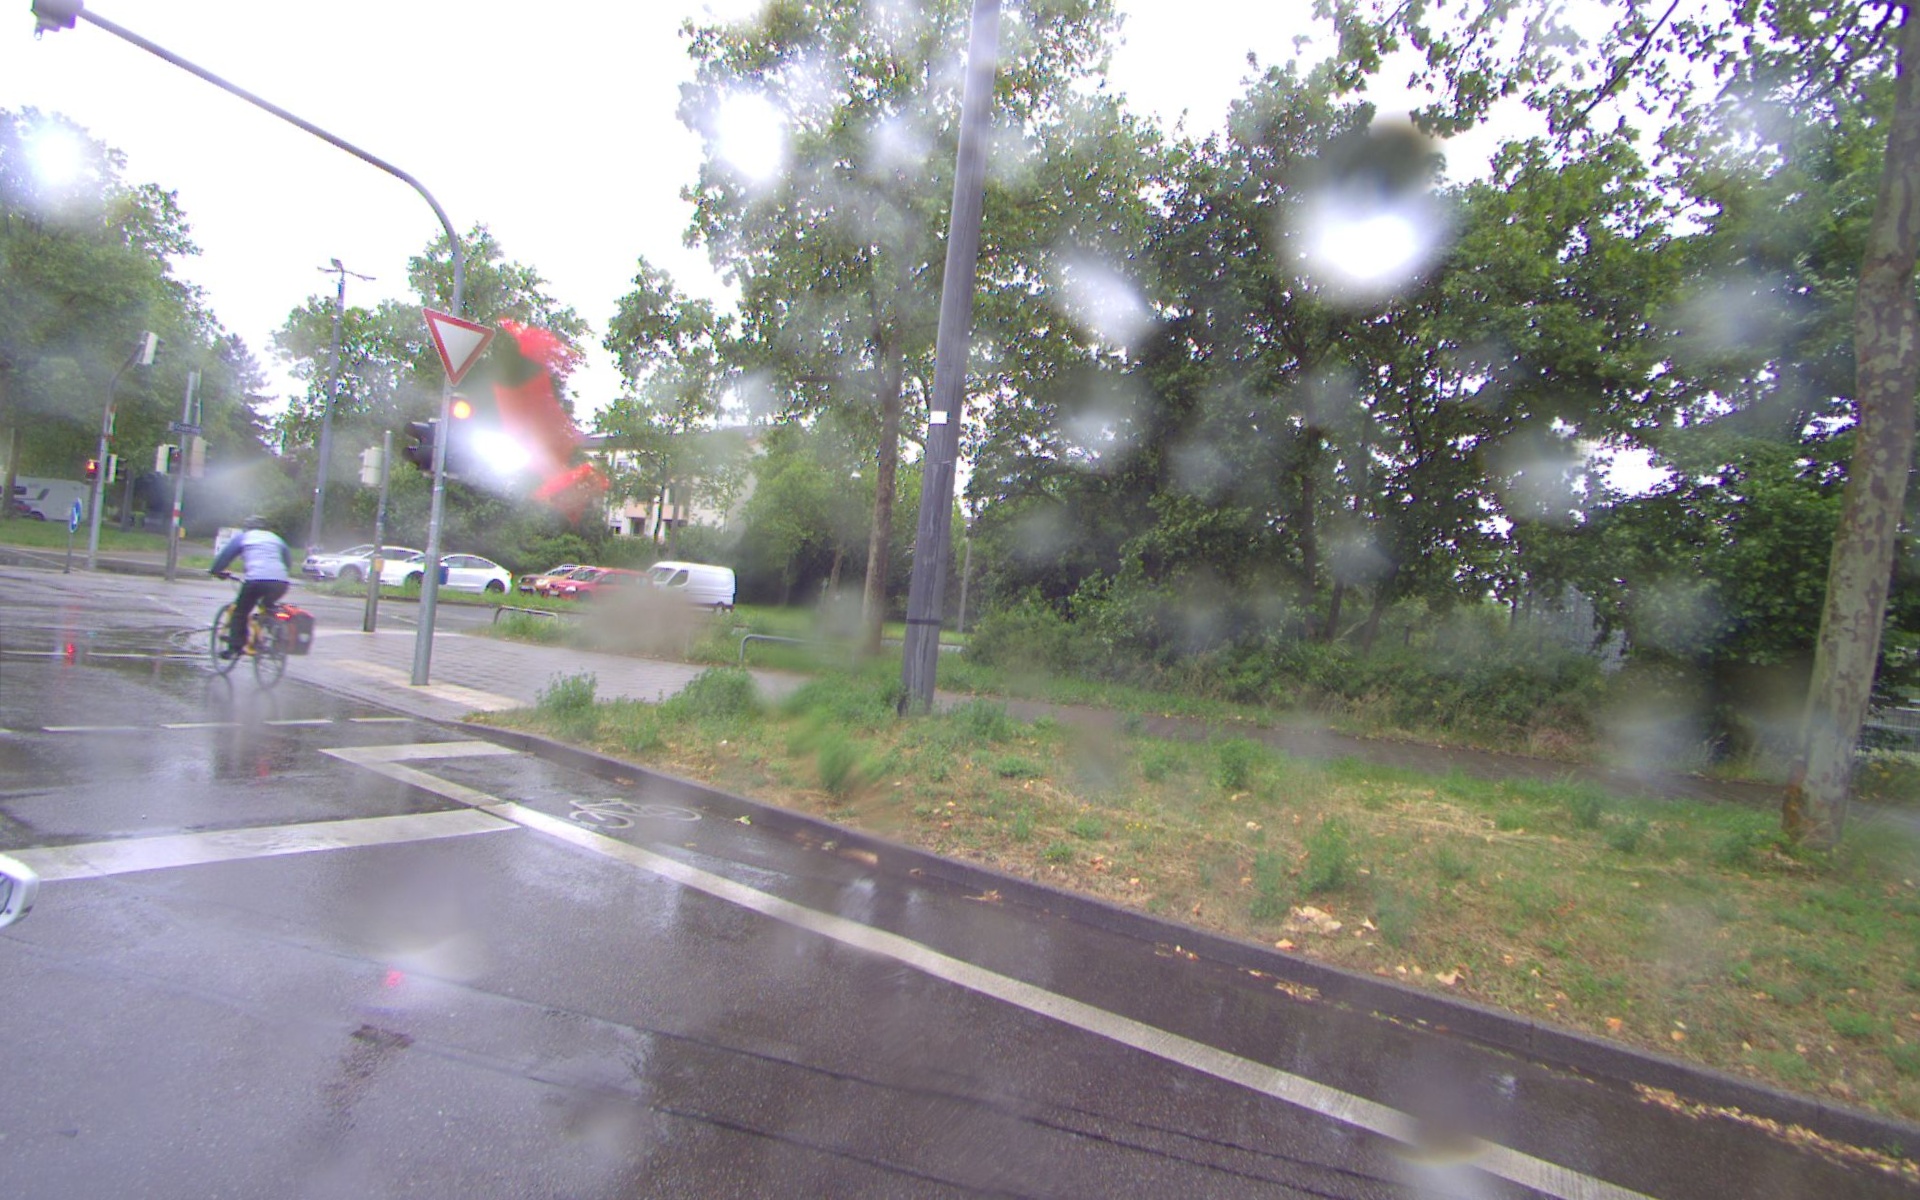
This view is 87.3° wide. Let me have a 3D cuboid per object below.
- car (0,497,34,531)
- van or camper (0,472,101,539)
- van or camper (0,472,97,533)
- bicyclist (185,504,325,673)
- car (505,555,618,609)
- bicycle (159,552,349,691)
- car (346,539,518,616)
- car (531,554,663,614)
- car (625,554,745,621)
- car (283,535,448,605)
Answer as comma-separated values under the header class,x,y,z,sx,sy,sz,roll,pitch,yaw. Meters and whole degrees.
class,x,y,z,sx,sy,sz,roll,pitch,yaw
car,-55.828,-5.151,57.118,4.424,1.736,1.980,9,-2,-37
van or camper,-56.917,-5.909,60.749,7.296,3.215,3.226,9,-2,-40
van or camper,-63.241,-6.725,67.583,7.388,3.215,3.231,9,-2,-36
bicyclist,-6.892,-0.101,9.845,0.830,1.523,0.692,6,-1,29
car,-16.334,-0.690,41.469,1.759,1.625,4.069,7,-2,26
bicycle,-6.921,0.198,9.842,1.853,1.130,0.692,6,-2,29
car,-17.160,-0.688,32.971,1.900,1.849,4.608,7,-2,26
car,-13.827,-0.564,38.624,1.760,1.625,4.615,6,-2,29
car,-12.927,-0.536,47.723,1.966,2.419,5.619,6,-2,29
car,-20.183,-0.963,34.369,1.900,1.710,4.407,7,-2,26
